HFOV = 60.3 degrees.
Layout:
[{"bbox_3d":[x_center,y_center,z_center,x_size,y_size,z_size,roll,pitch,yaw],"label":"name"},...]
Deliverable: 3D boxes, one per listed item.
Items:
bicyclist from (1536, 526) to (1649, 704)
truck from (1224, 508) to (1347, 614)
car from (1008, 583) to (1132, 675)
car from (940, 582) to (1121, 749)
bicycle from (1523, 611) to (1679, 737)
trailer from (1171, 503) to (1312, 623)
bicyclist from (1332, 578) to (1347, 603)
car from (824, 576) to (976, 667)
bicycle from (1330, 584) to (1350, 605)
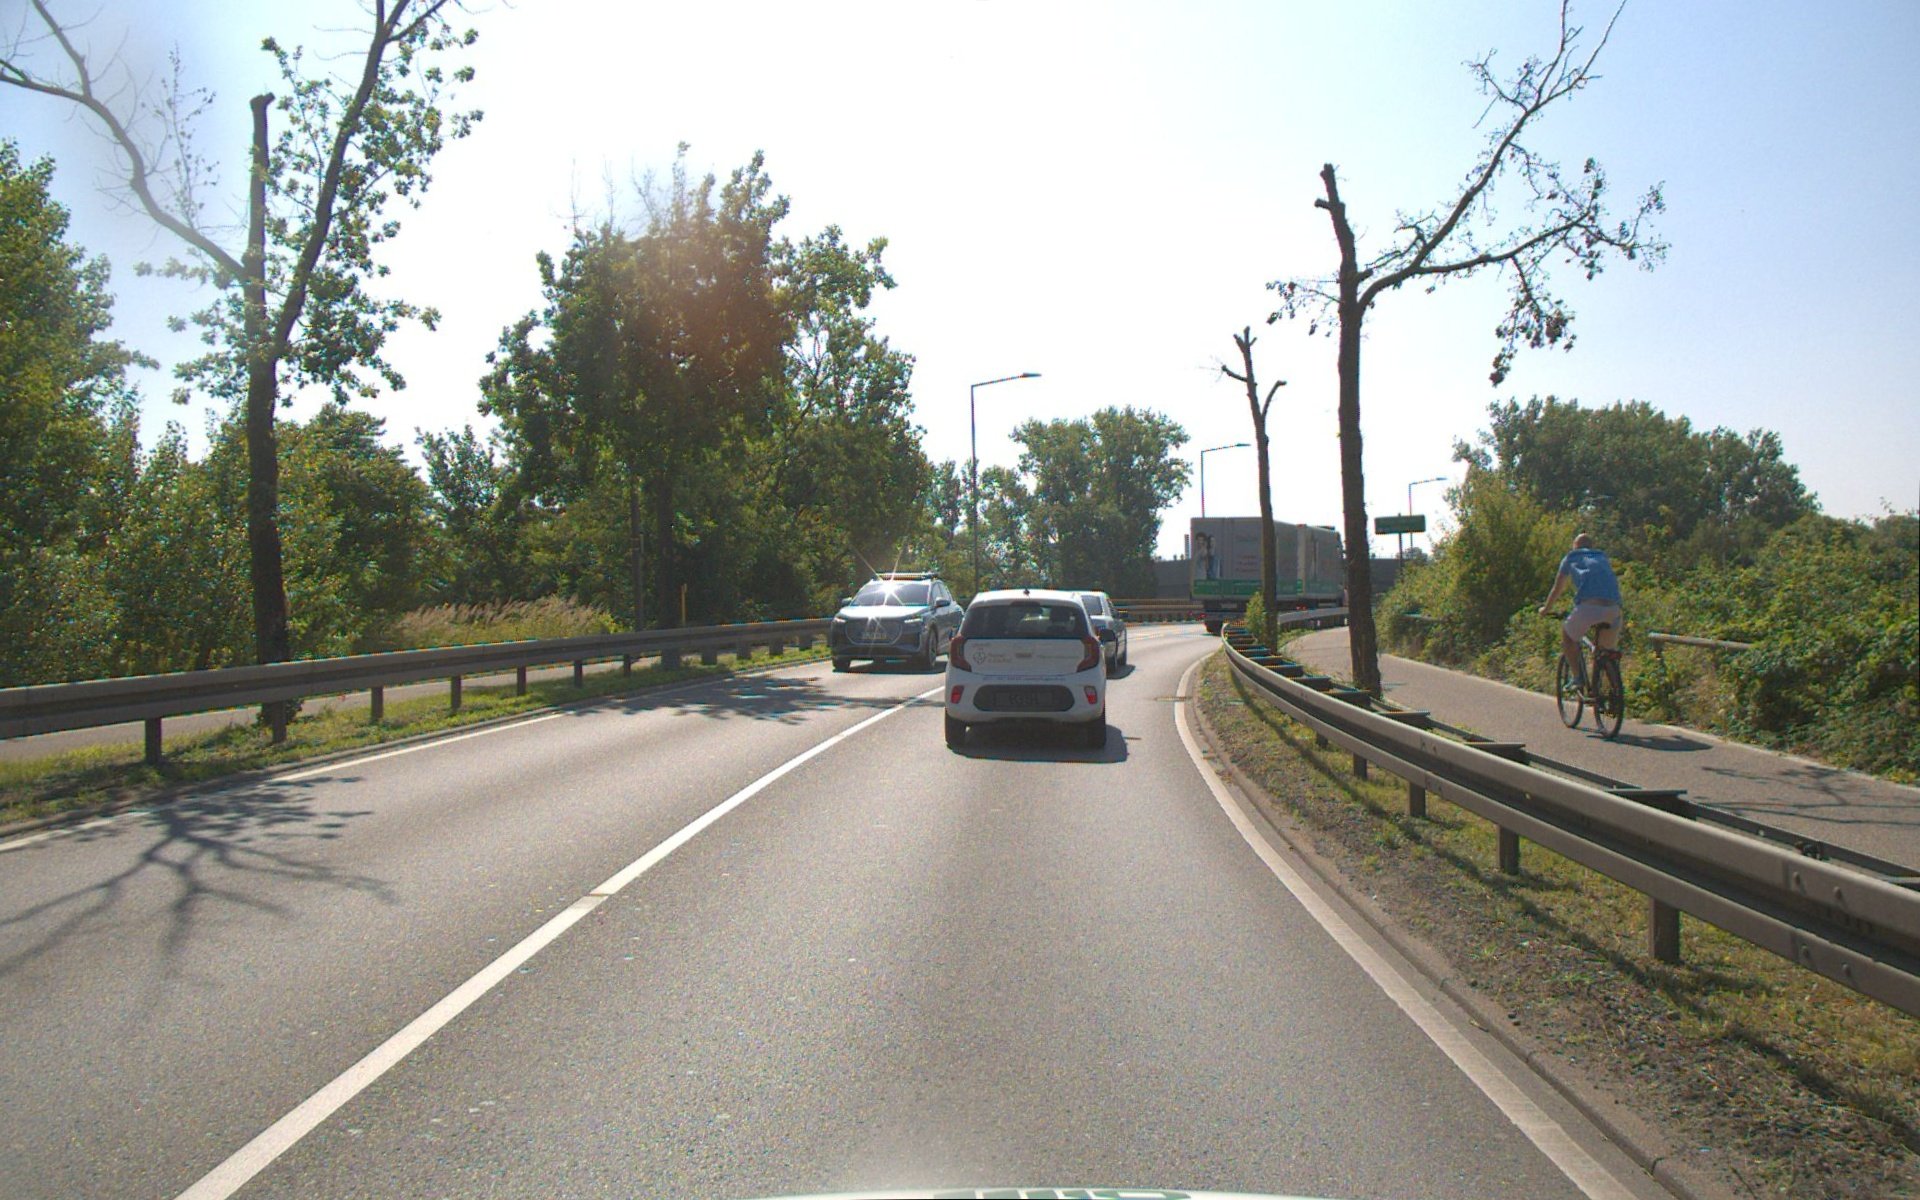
[{"bbox_3d":[5.772,0.136,15.133,0.644,1.546,0.803,-4,-1,2],"label":"bicyclist"},{"bbox_3d":[12.798,-1.581,64.436,3.194,3.823,8.371,1,2,22],"label":"truck"},{"bbox_3d":[2.084,0.458,30.138,1.897,1.512,4.904,0,1,8],"label":"car"},{"bbox_3d":[0.813,0.596,17.427,1.666,1.520,4.002,1,0,4],"label":"car"},{"bbox_3d":[5.805,0.649,15.088,0.688,1.037,1.846,-4,-1,2],"label":"bicycle"},{"bbox_3d":[9.818,-1.338,56.978,3.158,3.823,7.825,1,2,22],"label":"trailer"},{"bbox_3d":[22.508,-0.569,98.077,0.596,1.464,1.077,-3,-2,27],"label":"bicyclist"},{"bbox_3d":[-1.028,0.346,30.669,1.889,1.560,4.121,0,0,11],"label":"car"},{"bbox_3d":[22.515,-0.321,98.072,0.600,1.155,2.146,-4,-2,27],"label":"bicycle"}]
